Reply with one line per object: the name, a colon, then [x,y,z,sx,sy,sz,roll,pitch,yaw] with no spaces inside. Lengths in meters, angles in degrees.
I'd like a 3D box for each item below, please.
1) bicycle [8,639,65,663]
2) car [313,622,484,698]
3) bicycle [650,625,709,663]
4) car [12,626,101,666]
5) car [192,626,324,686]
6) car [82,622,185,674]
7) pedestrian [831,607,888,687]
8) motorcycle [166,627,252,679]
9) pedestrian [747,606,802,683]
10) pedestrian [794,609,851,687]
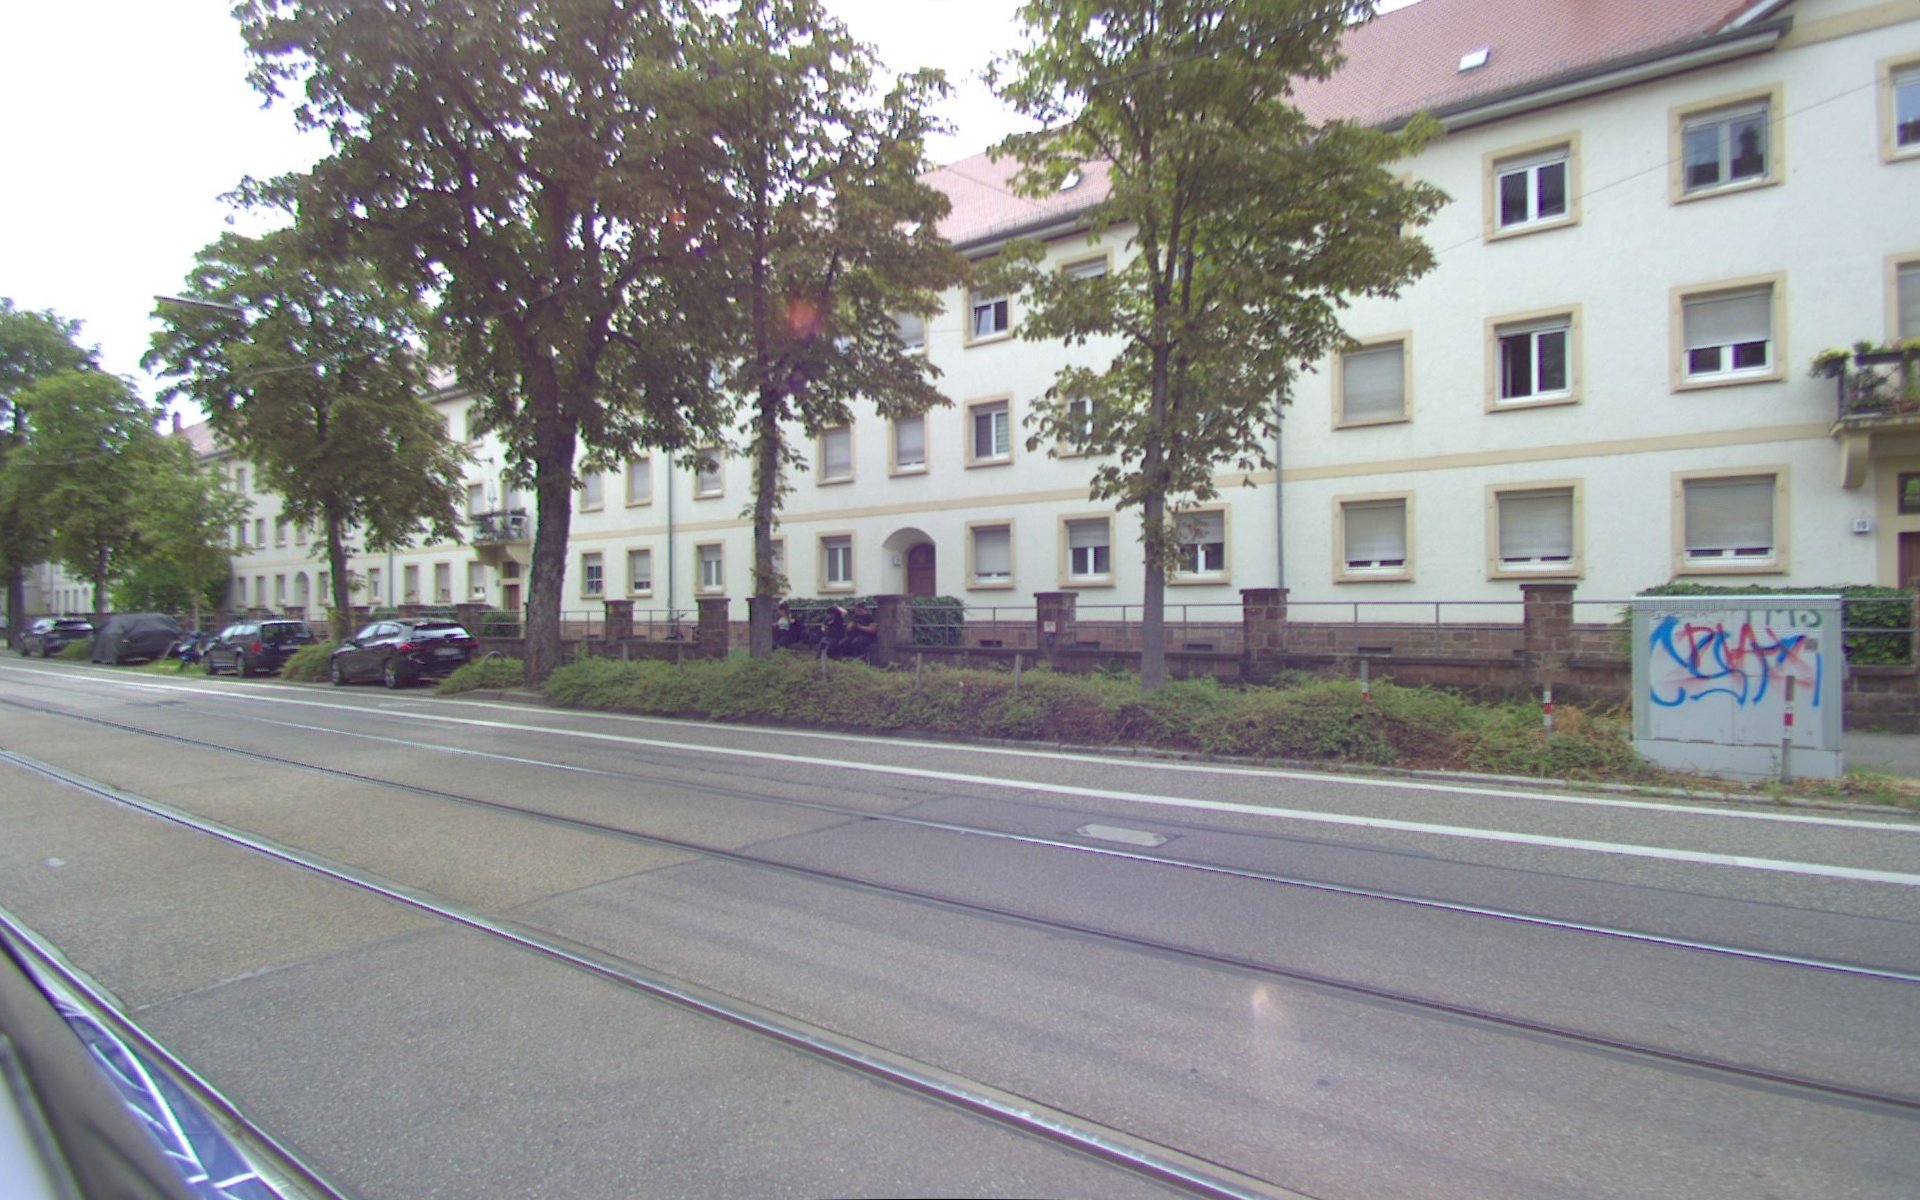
bicycle: [-39.010,2.143,42.761,0.670,0.978,1.656,-1,-1,28]
car: [-12.525,1.277,22.479,4.293,1.434,1.681,-1,2,37]
bicycle: [-6.656,1.042,23.985,1.547,0.869,0.504,-1,-1,38]
car: [-35.502,1.778,39.731,4.290,1.481,1.682,-1,-1,35]
car: [-18.967,1.461,27.279,4.293,1.434,1.681,-1,0,37]
car: [-28.013,1.589,34.263,4.293,1.624,1.769,-1,-1,37]
pedestrian: [-1.908,0.882,19.247,0.730,1.476,0.826,-1,-1,32]
motorcycle: [-21.990,1.524,29.670,0.590,1.269,1.852,-1,4,33]
pedestrian: [-3.762,0.893,20.537,0.730,1.524,0.826,-1,-1,32]
pedestrian: [-2.670,0.910,19.719,0.730,1.476,0.826,-1,-1,32]
